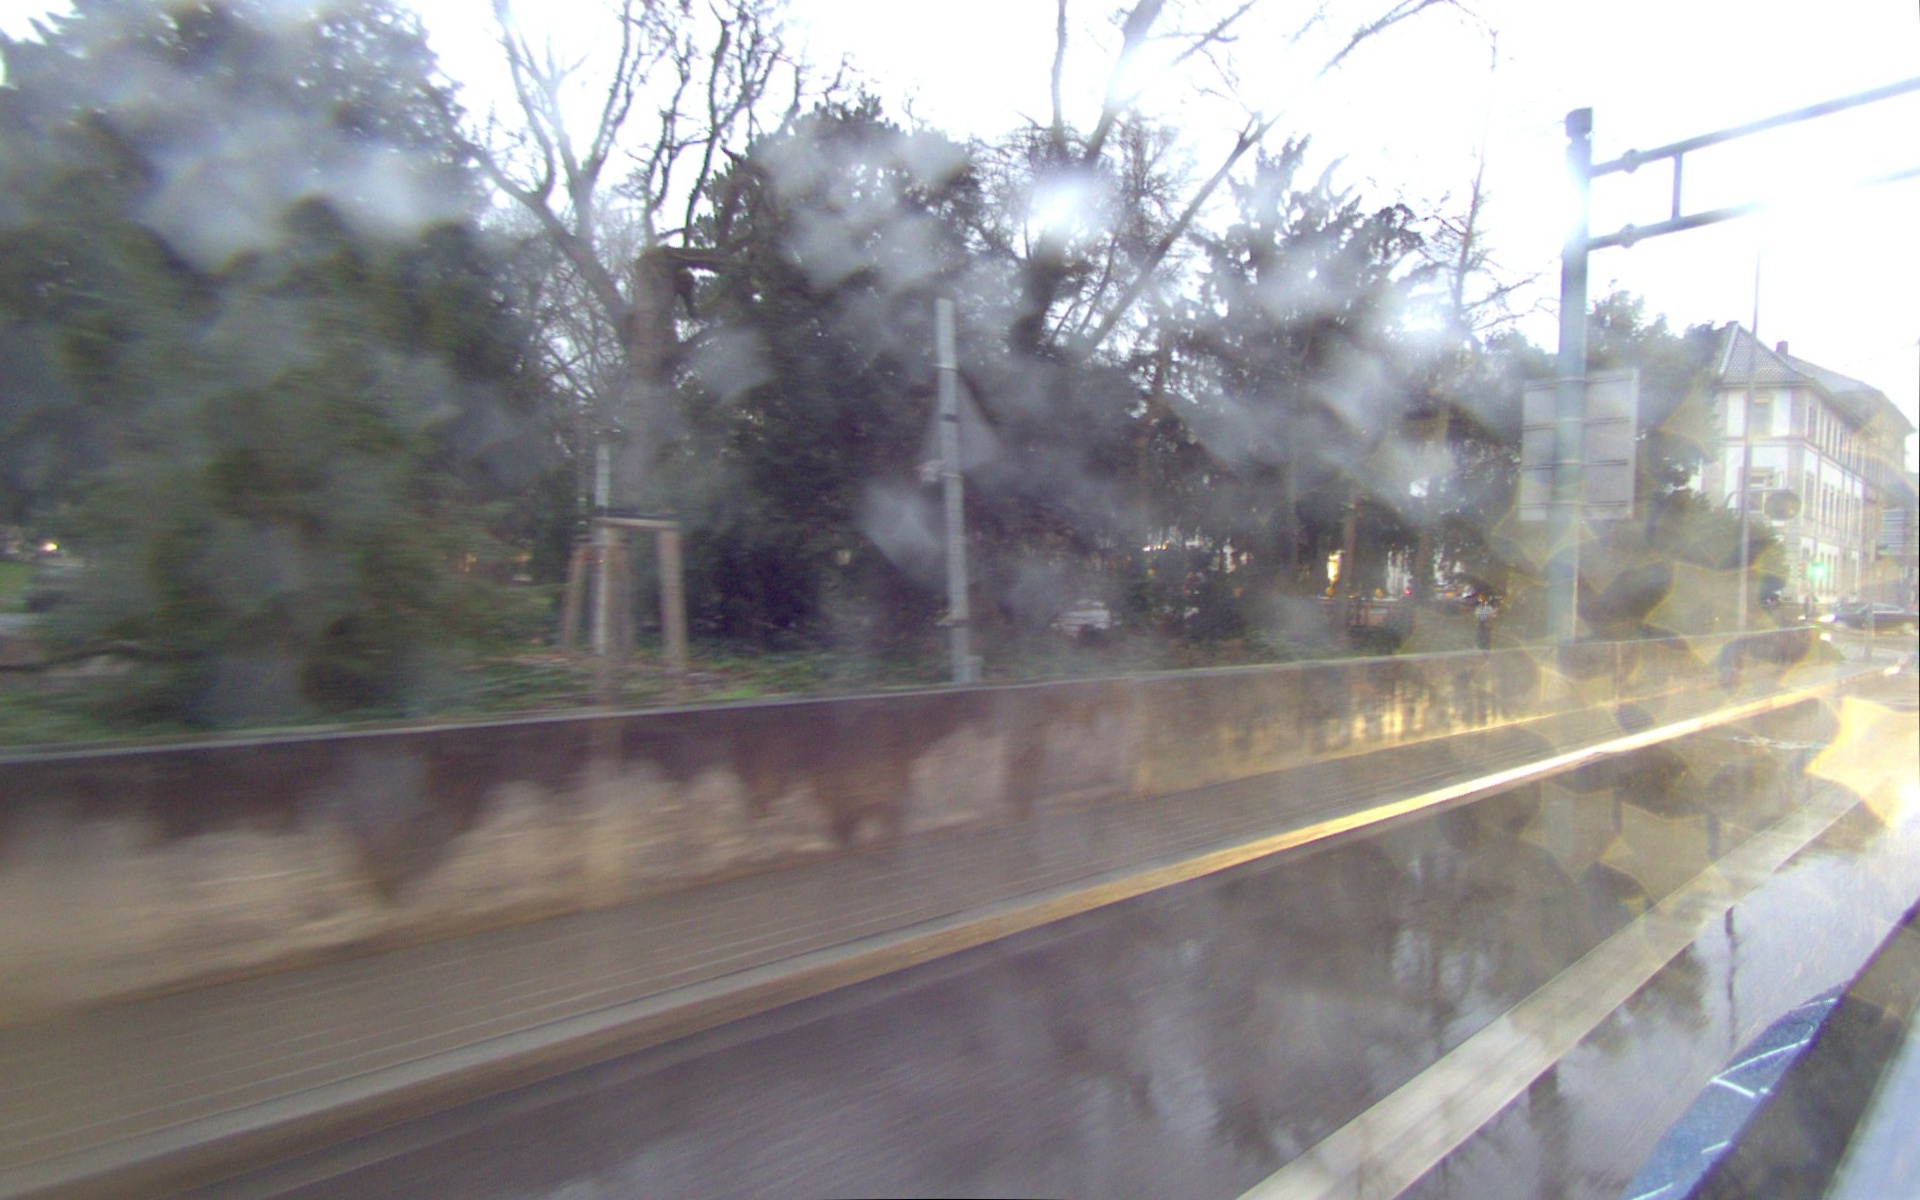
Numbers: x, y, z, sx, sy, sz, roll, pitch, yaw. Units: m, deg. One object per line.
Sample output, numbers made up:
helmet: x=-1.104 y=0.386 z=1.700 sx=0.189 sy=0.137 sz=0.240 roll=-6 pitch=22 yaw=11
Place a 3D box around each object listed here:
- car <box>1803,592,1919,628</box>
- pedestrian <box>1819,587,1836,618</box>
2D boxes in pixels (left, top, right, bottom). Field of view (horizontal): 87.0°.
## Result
car: x=40.363 y=0.436 z=45.000 sx=3.934 sy=1.429 sz=1.873 roll=2 pitch=1 yaw=9
pedestrian: x=43.317 y=0.126 z=50.538 sx=0.577 sy=1.529 sz=0.520 roll=1 pitch=2 yaw=-41
